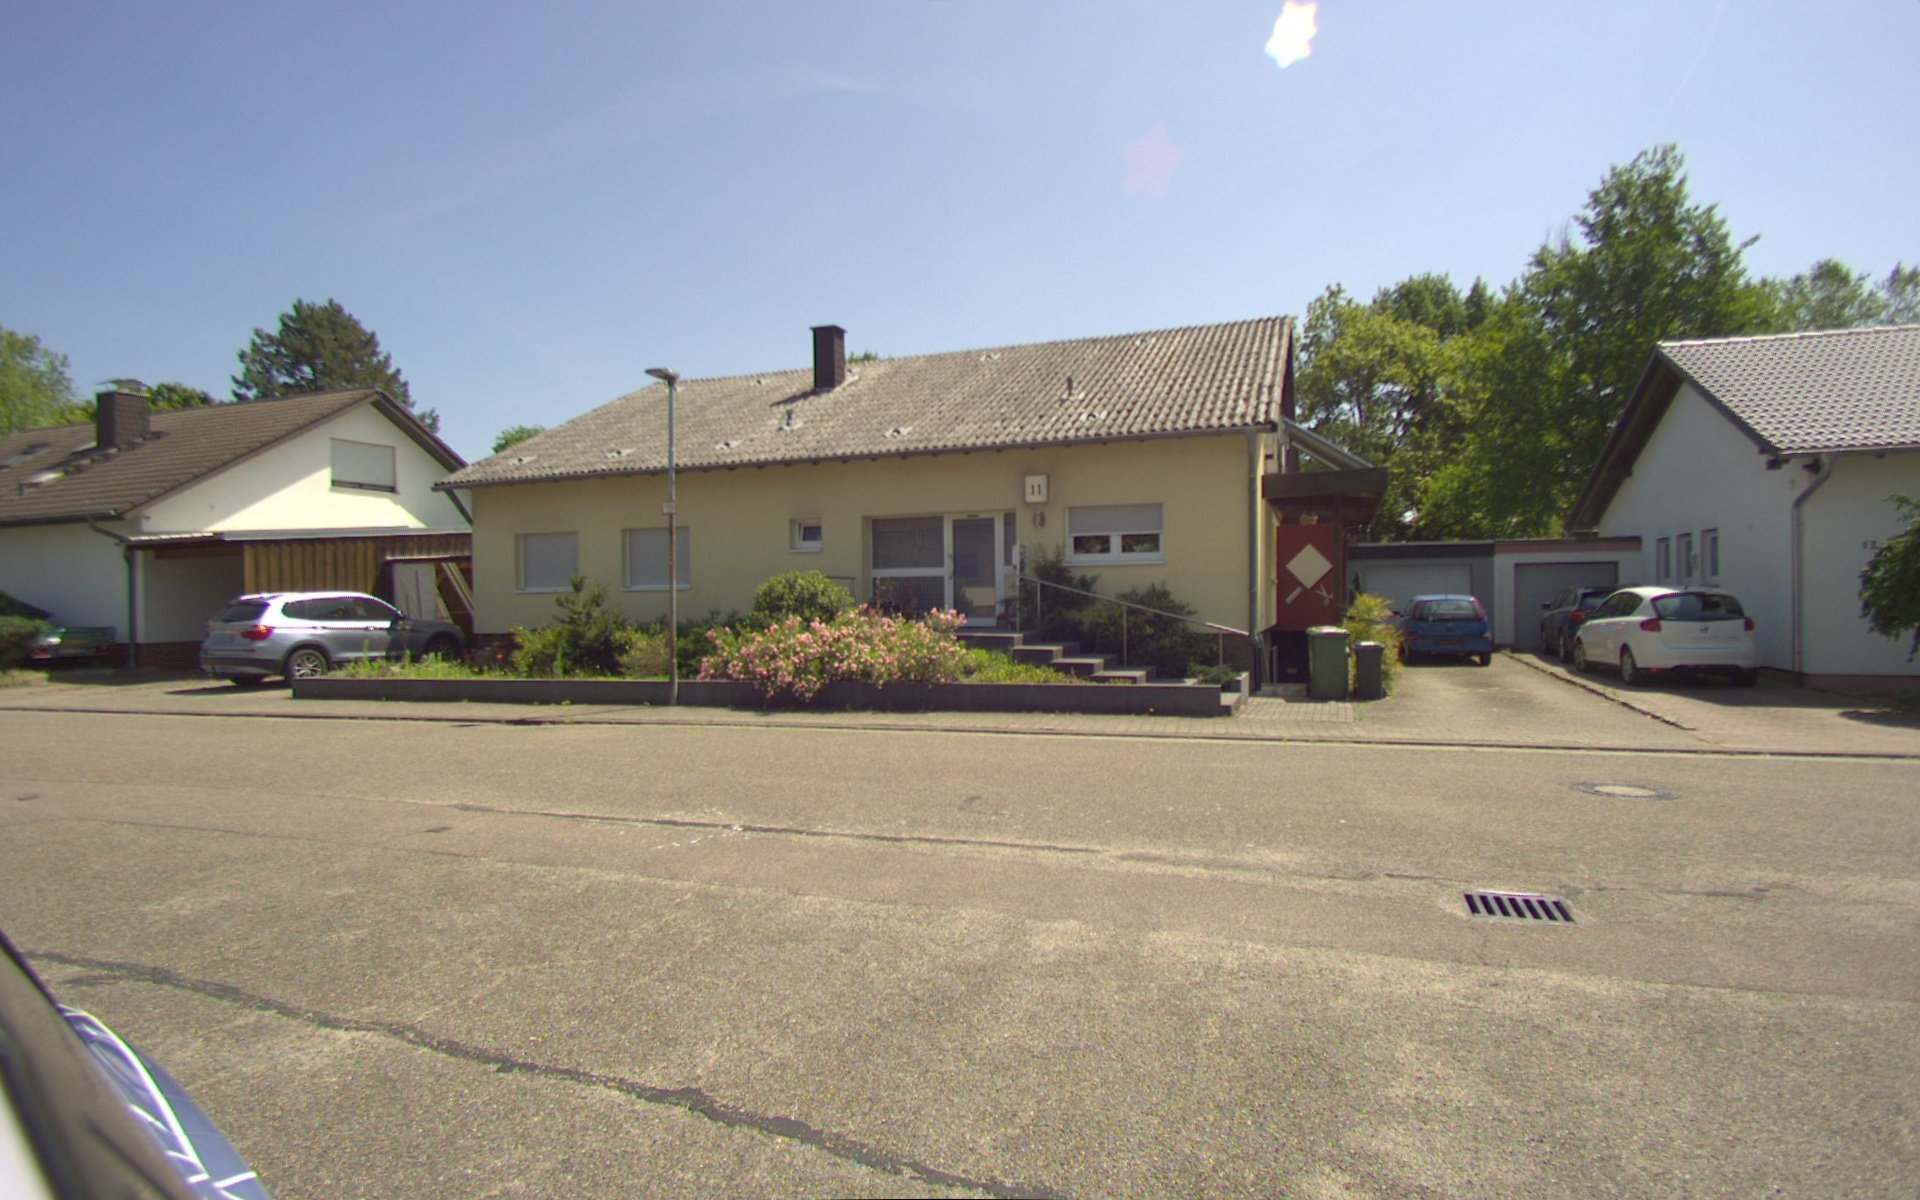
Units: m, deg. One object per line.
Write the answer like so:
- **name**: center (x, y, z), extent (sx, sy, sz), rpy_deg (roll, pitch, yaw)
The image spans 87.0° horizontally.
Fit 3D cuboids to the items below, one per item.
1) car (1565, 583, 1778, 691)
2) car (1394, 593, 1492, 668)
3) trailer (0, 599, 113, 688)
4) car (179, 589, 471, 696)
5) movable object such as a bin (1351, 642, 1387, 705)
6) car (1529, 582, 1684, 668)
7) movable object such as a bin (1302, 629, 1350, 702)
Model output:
- **car**: center (11.793, 0.555, 17.098), extent (1.737, 1.580, 3.978), rpy_deg (-1, 0, 17)
- **car**: center (10.503, 0.623, 22.185), extent (1.608, 1.466, 3.232), rpy_deg (-1, 1, 20)
- **trailer**: center (-19.438, 0.842, 20.919), extent (3.273, 1.685, 1.581), rpy_deg (0, 1, 21)
- **car**: center (-11.947, 0.700, 19.452), extent (1.699, 1.715, 4.607), rpy_deg (-1, 1, 23)
- **movable object such as a bin**: center (6.025, 1.072, 14.916), extent (0.403, 0.898, 0.424), rpy_deg (-2, -1, 13)
- **car**: center (13.540, 0.475, 21.463), extent (1.915, 1.620, 3.973), rpy_deg (-2, 0, 21)
- **movable object such as a bin**: center (5.456, 0.972, 15.102), extent (0.587, 1.049, 0.489), rpy_deg (-2, -1, 13)
